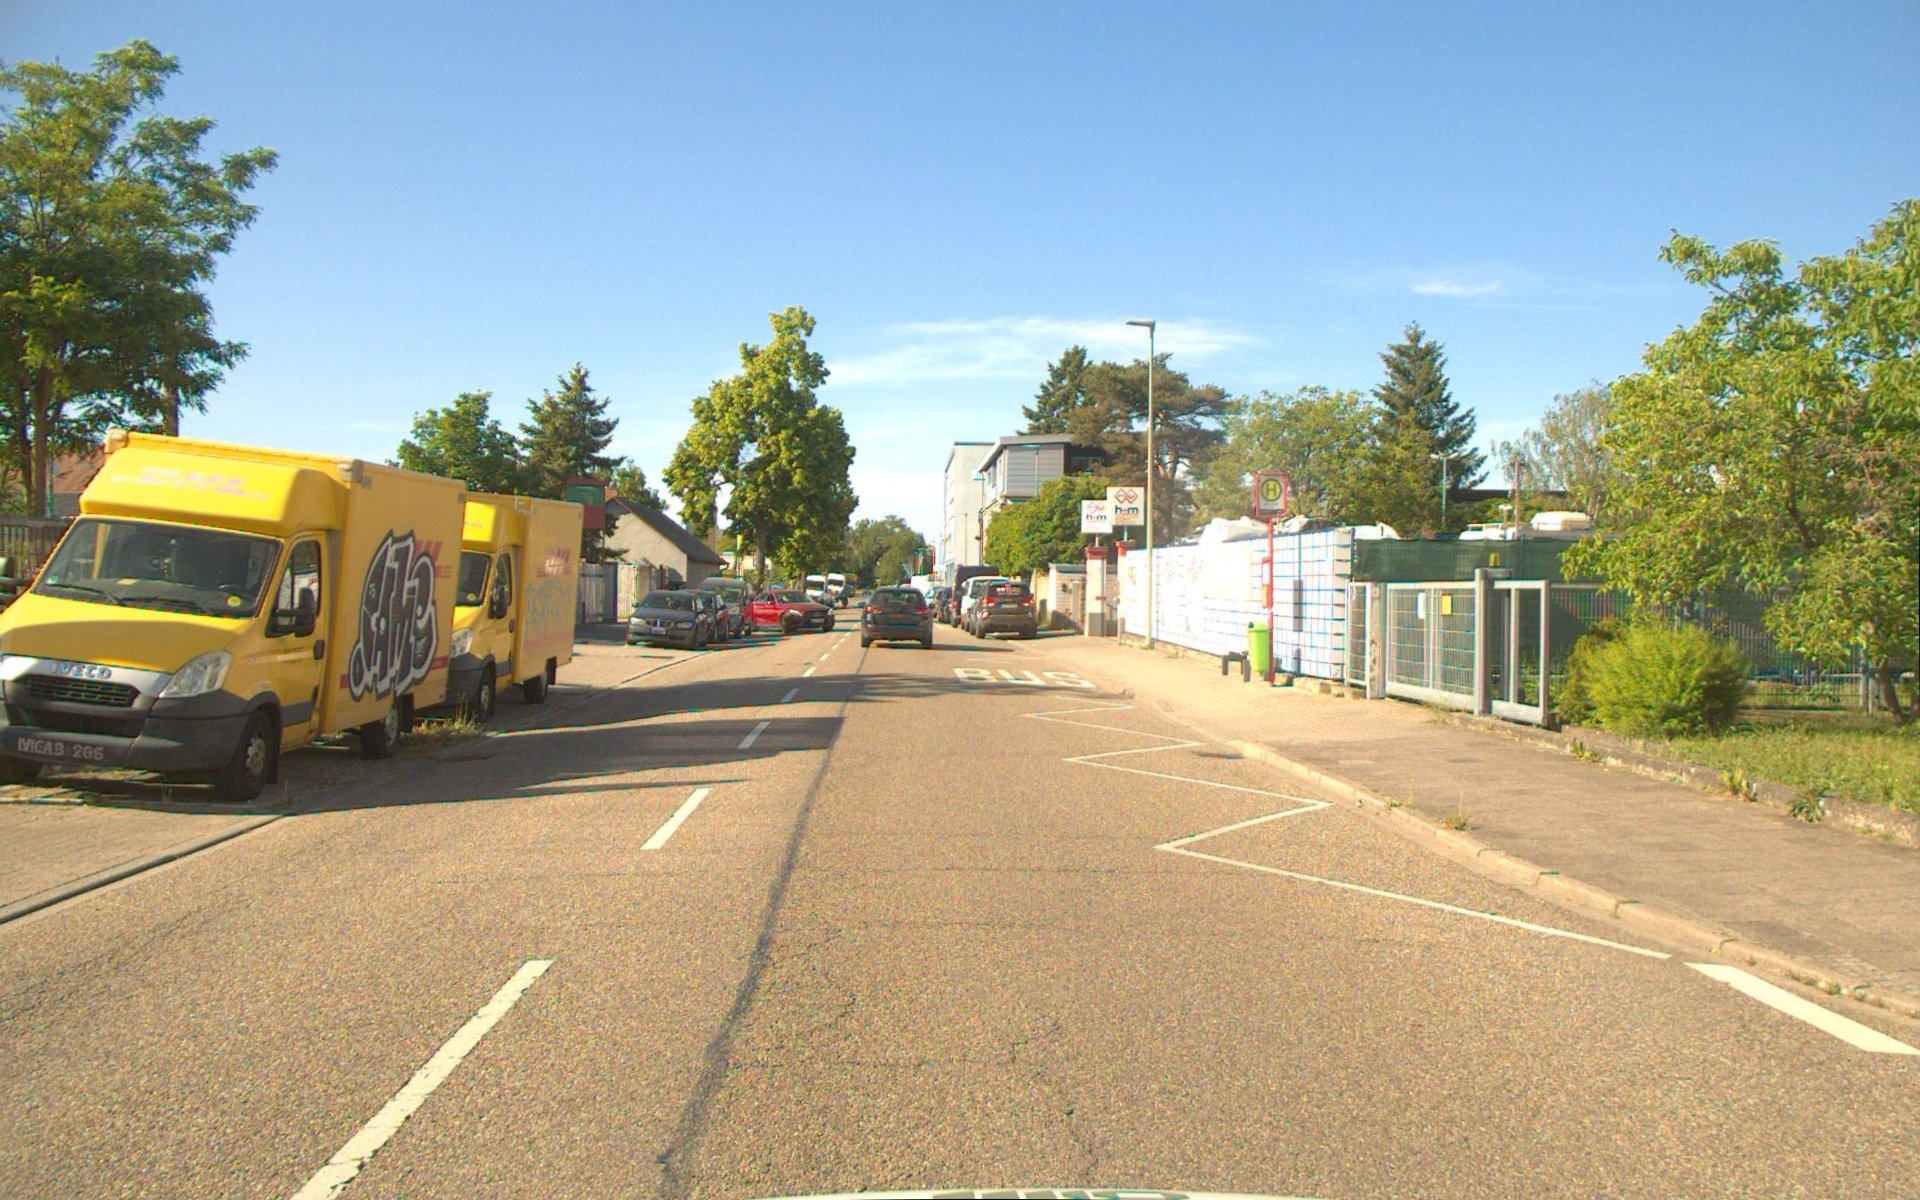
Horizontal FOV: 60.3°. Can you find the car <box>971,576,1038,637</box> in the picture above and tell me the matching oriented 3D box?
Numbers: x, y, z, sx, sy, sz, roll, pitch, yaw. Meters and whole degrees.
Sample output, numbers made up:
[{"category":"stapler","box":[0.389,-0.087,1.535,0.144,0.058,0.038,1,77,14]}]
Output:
[{"category":"car","box":[1.374,0.185,52.736,1.880,1.857,4.078,0,1,-2]}]

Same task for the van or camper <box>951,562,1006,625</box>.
[{"category":"van or camper","box":[0.682,-0.278,64.524,1.953,2.351,3.999,0,1,-2]}]

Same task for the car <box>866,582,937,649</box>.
[{"category":"car","box":[-1.426,0.337,40.971,1.677,1.559,3.687,0,1,-1]}]

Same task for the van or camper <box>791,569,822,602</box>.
[{"category":"van or camper","box":[-11.687,-1.135,125.592,2.278,2.403,6.520,0,1,-6]}]

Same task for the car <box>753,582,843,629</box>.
[{"category":"car","box":[-5.658,0.148,57.463,1.853,1.511,4.011,-2,2,-26]}]

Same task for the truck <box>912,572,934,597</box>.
[{"category":"truck","box":[-3.590,-1.516,158.327,1.953,2.327,6.953,0,1,-2]}]

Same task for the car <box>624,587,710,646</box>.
[{"category":"car","box":[-7.605,0.397,43.309,1.722,1.427,4.554,0,1,-4]}]

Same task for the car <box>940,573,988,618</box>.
[{"category":"car","box":[0.146,-0.222,71.731,1.880,1.857,4.078,0,1,-2]}]

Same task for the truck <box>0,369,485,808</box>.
[{"category":"truck","box":[-6.322,-0.123,14.860,2.354,3.035,6.371,2,0,-2]}]

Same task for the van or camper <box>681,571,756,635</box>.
[{"category":"van or camper","box":[-7.722,0.085,53.195,1.852,1.959,4.265,-1,0,-1]}]

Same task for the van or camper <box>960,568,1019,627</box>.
[{"category":"van or camper","box":[1.025,-0.112,59.203,1.880,2.055,4.078,0,1,-2]}]

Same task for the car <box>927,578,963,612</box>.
[{"category":"car","box":[-0.867,-0.302,91.723,1.880,1.857,4.078,0,1,-2]}]

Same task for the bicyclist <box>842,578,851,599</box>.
[{"category":"bicyclist","box":[-8.682,-0.897,126.909,0.681,1.566,0.634,0,0,-4]}]

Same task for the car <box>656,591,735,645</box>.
[{"category":"car","box":[-7.724,0.492,48.676,1.659,1.494,4.173,0,1,0]}]

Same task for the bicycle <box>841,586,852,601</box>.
[{"category":"bicycle","box":[-8.699,-0.514,126.872,0.812,1.173,2.938,0,1,-4]}]

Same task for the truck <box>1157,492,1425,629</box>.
[{"category":"truck","box":[9.672,-1.133,48.709,7.232,3.836,2.829,0,0,-7]}]

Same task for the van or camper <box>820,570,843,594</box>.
[{"category":"van or camper","box":[-13.629,-1.893,174.866,2.278,2.403,6.520,0,1,-6]}]

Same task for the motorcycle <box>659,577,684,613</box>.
[{"category":"motorcycle","box":[-12.178,-0.213,69.786,0.761,1.470,2.038,0,1,-2]}]

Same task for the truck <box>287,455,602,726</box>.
[{"category":"truck","box":[-6.492,-0.149,21.815,2.148,2.952,6.437,2,1,-1]}]
